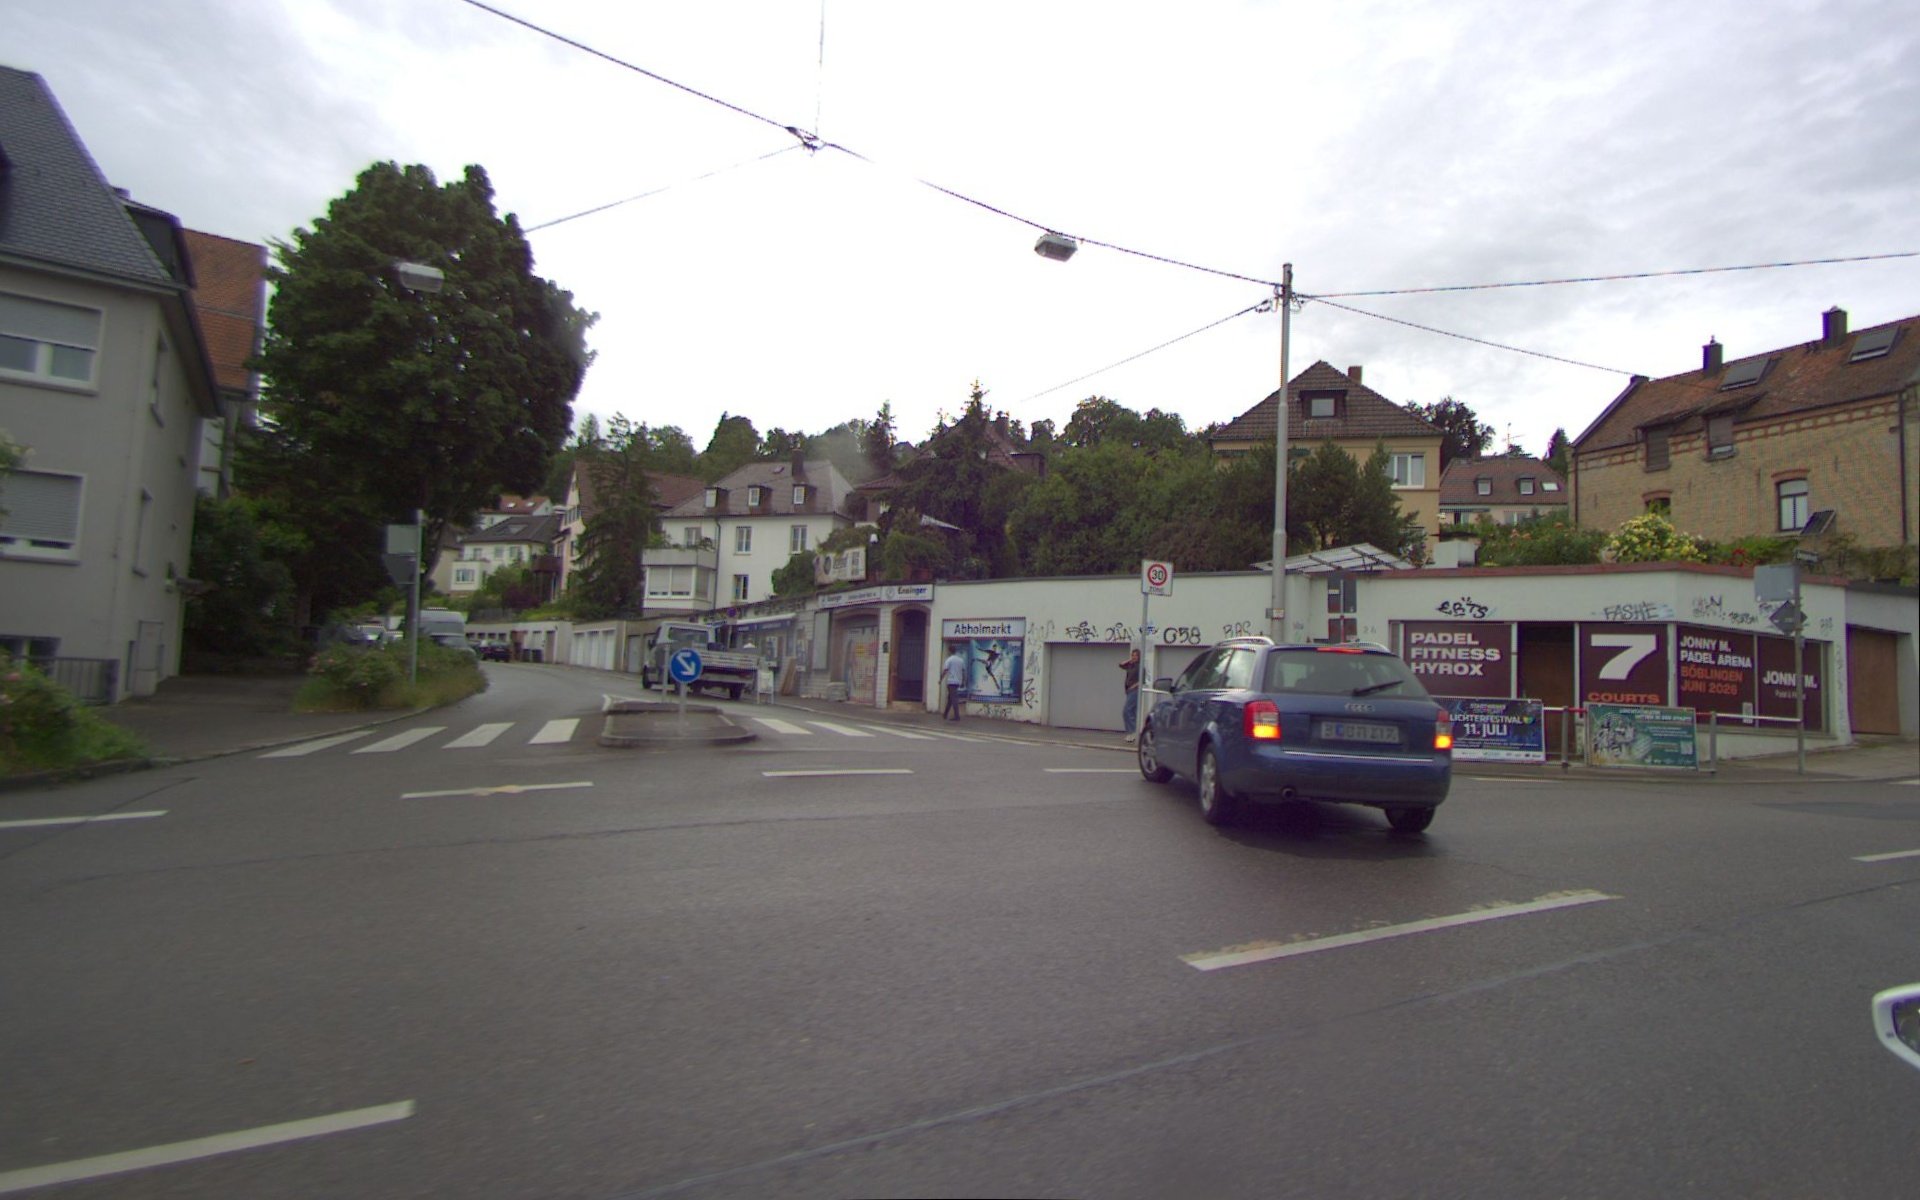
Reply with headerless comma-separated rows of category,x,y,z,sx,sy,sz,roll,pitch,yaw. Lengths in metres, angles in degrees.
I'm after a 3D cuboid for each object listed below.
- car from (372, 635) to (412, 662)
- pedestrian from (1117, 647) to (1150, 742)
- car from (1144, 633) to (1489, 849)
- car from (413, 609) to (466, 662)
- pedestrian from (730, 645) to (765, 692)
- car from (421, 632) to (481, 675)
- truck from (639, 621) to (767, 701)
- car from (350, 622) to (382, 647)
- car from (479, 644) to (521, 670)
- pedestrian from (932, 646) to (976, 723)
car,-30.034,2.547,53.066,1.718,1.382,3.967,2,-3,-31
pedestrian,3.187,1.729,18.445,0.572,1.711,0.627,0,-4,9
car,2.796,1.046,8.900,1.781,1.458,4.084,0,-3,3
car,-22.648,1.524,43.619,1.816,2.151,5.001,2,-2,-30
pedestrian,-7.156,2.288,33.827,0.880,1.525,0.971,2,-1,-29
car,-19.136,1.981,37.718,1.526,1.548,3.646,2,-3,-34
truck,-8.376,1.865,32.131,2.287,2.299,6.757,2,-2,-29
car,-39.251,2.260,66.329,1.718,1.606,3.967,2,-3,-31
car,-30.750,3.795,67.041,1.979,1.661,3.964,2,-3,-33
pedestrian,-0.136,2.053,24.675,0.695,1.829,0.806,0,-2,37
